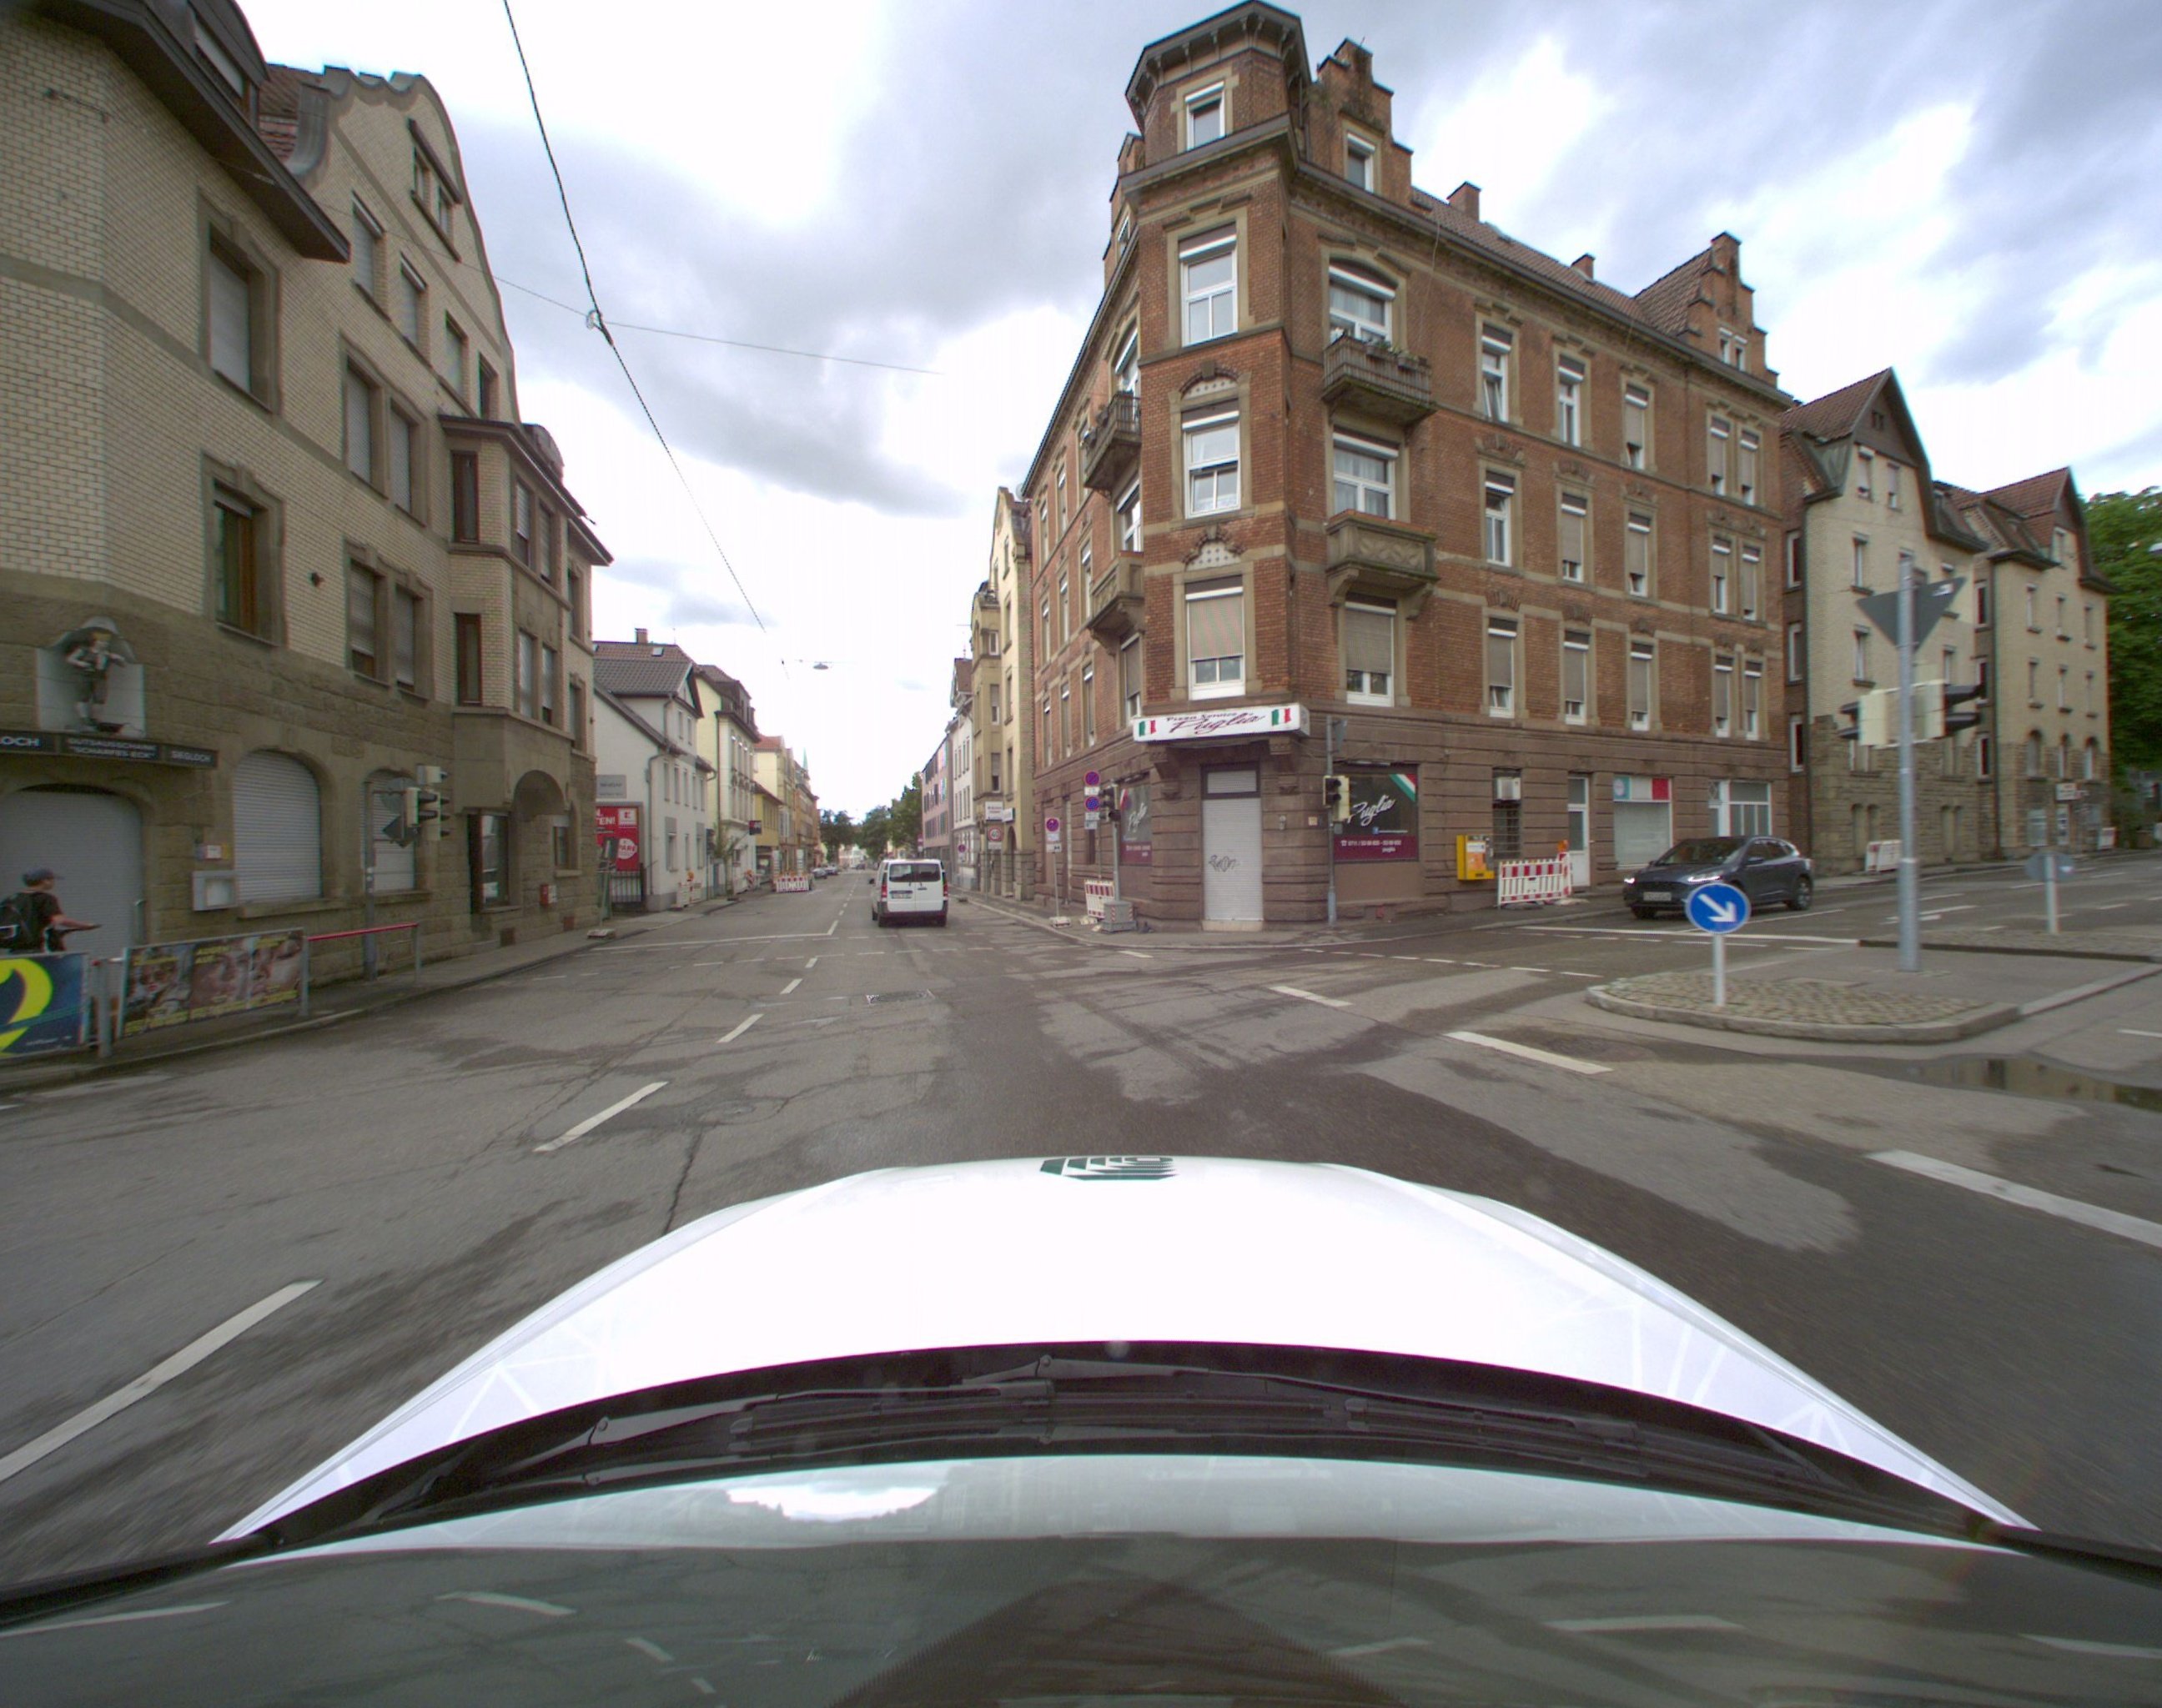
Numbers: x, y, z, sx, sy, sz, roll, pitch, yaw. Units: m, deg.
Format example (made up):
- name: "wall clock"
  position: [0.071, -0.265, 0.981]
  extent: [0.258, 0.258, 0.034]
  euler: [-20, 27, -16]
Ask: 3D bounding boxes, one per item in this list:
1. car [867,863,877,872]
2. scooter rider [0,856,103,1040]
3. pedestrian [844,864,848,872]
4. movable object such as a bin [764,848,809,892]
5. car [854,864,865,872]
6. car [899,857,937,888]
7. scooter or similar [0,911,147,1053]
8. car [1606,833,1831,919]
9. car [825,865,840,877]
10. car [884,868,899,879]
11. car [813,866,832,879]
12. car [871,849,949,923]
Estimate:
- name: "car"
  position: [-48.747, 3.233, 190.009]
  extent: [1.996, 2.014, 3.981]
  euler: [-1, -1, -14]
- name: "scooter rider"
  position: [-10.047, 0.869, 7.872]
  extent: [0.484, 1.705, 0.579]
  euler: [0, 0, 12]
- name: "pedestrian"
  position: [-45.109, 2.618, 156.249]
  extent: [0.621, 1.540, 0.490]
  euler: [-2, -1, 1]
- name: "movable object such as a bin"
  position: [-20.467, 1.111, 56.793]
  extent: [2.543, 2.825, 4.514]
  euler: [-3, 0, -16]
- name: "car"
  position: [-53.282, 3.384, 195.957]
  extent: [1.994, 1.618, 3.985]
  euler: [-1, -1, -11]
- name: "car"
  position: [-10.830, 1.209, 53.984]
  extent: [2.132, 2.005, 4.900]
  euler: [1, -1, -15]
- name: "scooter or similar"
  position: [-10.041, 1.217, 7.912]
  extent: [0.375, 1.242, 1.231]
  euler: [-1, -1, 13]
- name: "car"
  position: [13.345, 0.430, 17.042]
  extent: [4.294, 1.515, 1.983]
  euler: [-2, -2, -26]
- name: "car"
  position: [-36.489, 2.426, 119.557]
  extent: [1.998, 1.741, 3.977]
  euler: [0, -1, -16]
- name: "car"
  position: [-28.395, 2.879, 122.009]
  extent: [1.997, 1.486, 3.978]
  euler: [3, -1, -16]
- name: "car"
  position: [-30.367, 2.123, 95.831]
  extent: [1.998, 1.442, 3.978]
  euler: [-2, 0, -16]
- name: "car"
  position: [-5.128, 0.914, 24.030]
  extent: [1.896, 1.929, 4.619]
  euler: [-1, -1, -16]
